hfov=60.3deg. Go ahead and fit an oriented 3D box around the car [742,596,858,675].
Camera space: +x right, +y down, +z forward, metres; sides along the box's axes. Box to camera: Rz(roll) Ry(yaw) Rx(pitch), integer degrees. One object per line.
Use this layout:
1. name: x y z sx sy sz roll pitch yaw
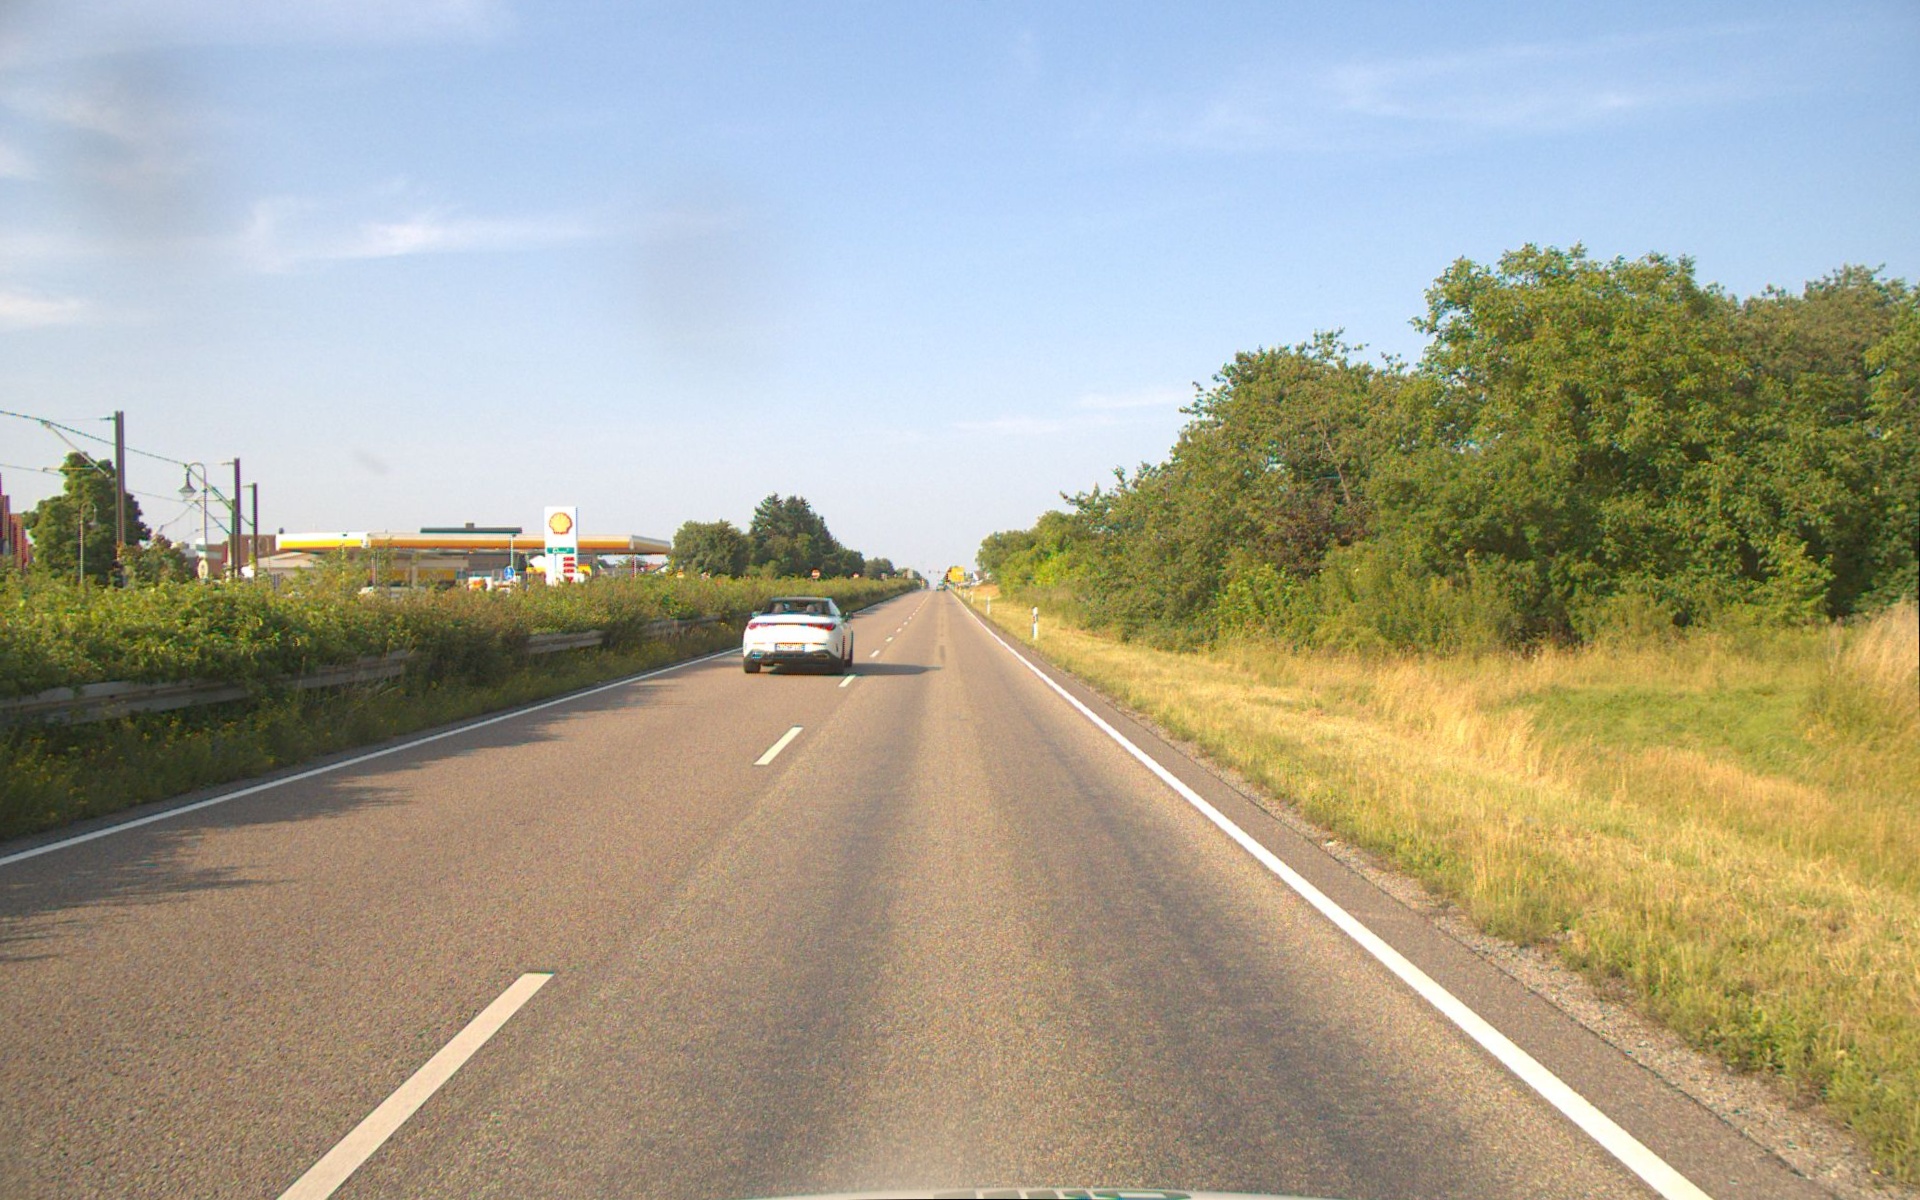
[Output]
1. car: -2.977 0.620 31.618 1.735 1.361 4.949 1 0 0
